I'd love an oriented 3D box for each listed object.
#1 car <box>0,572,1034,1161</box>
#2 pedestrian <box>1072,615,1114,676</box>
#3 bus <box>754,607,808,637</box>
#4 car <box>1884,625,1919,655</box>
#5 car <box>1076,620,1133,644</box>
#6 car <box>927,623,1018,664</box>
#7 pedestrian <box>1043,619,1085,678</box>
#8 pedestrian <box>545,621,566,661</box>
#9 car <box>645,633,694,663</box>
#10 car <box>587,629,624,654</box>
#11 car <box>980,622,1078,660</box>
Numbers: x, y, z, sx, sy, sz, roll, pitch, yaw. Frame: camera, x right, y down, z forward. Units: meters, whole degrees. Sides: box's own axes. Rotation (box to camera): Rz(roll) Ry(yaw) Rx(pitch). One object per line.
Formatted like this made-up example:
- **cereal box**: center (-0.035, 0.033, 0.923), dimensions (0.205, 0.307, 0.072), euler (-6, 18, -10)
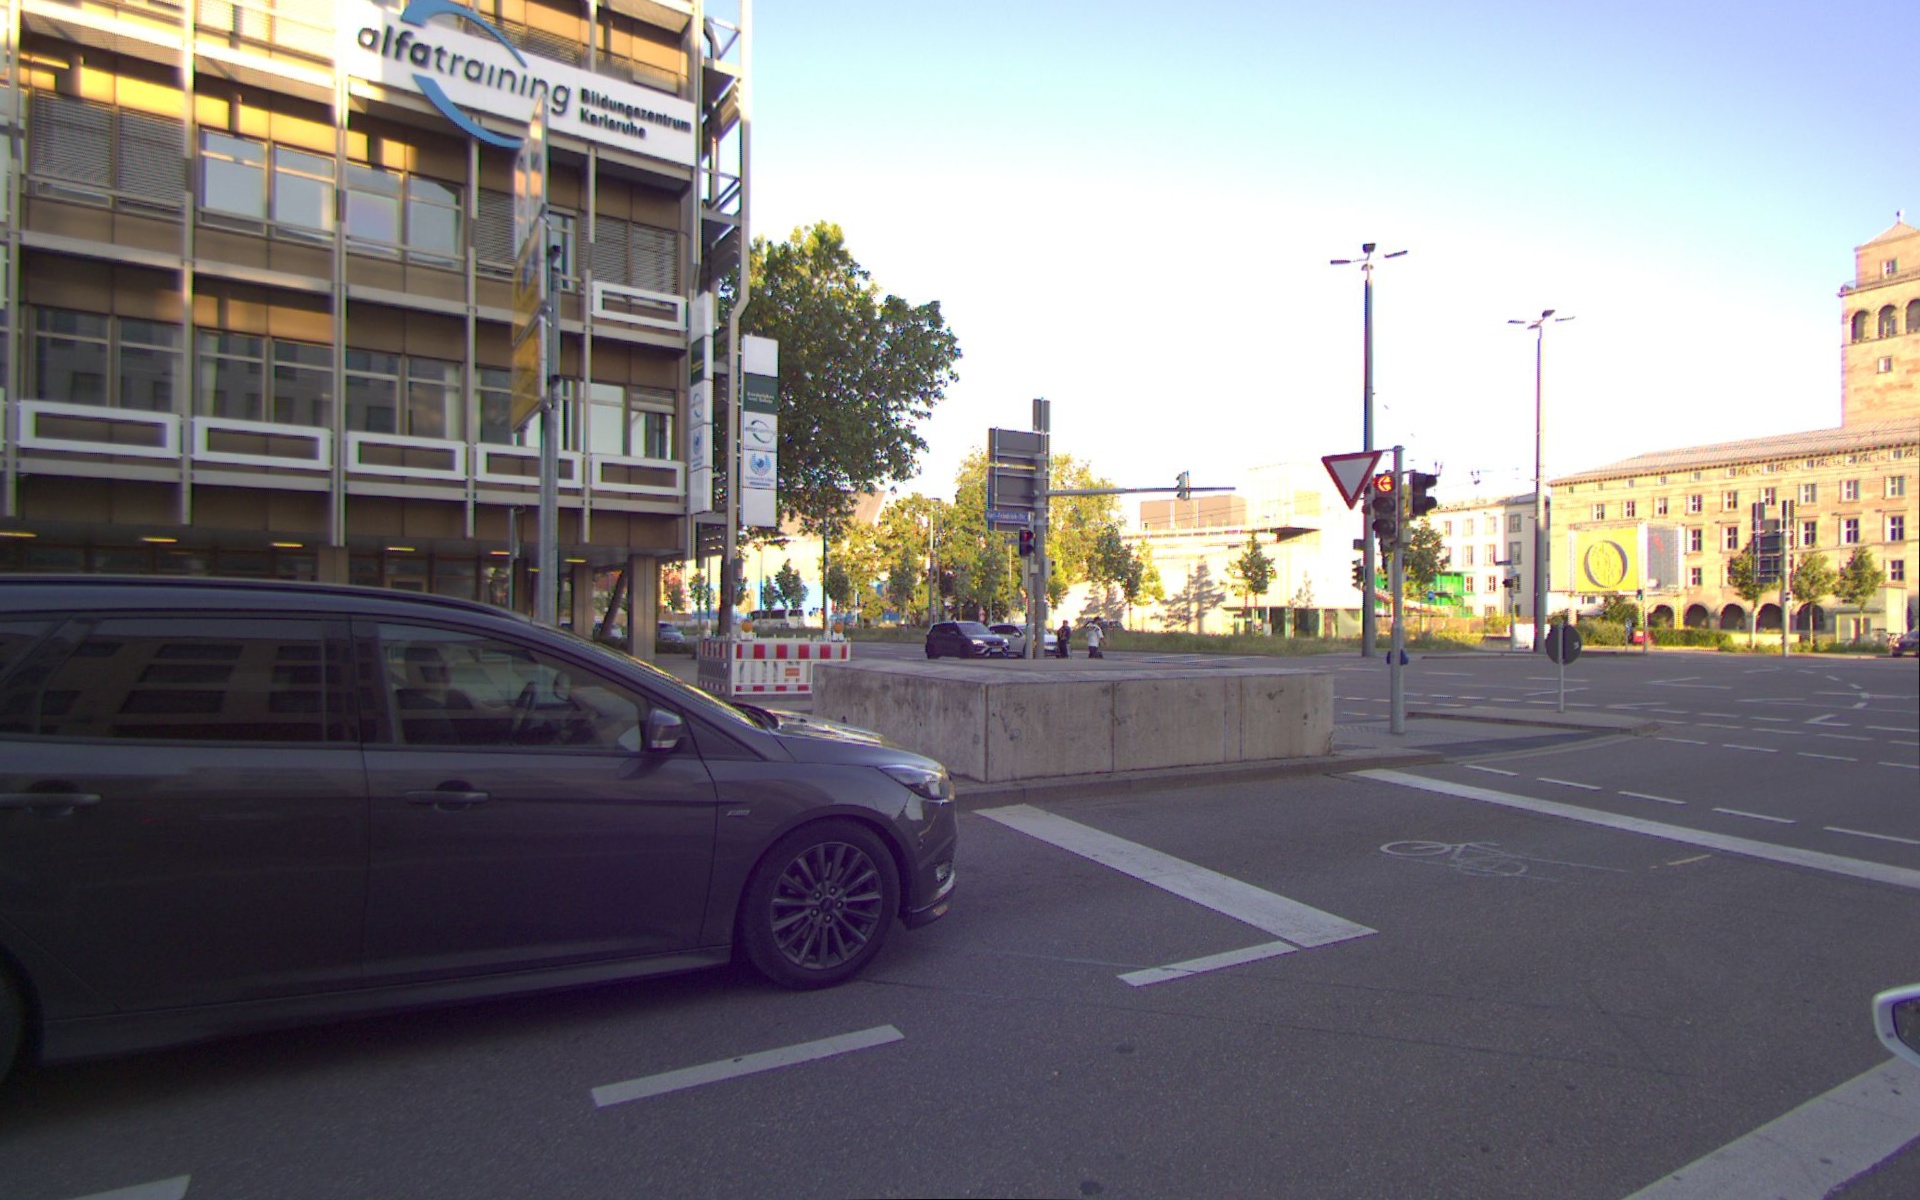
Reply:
- **car**: center (-1.992, 0.671, 3.798), dimensions (4.330, 1.482, 1.748), euler (1, 1, -31)
- **pedestrian**: center (3.920, 1.316, 29.565), dimensions (0.949, 1.744, 0.816), euler (1, -1, -34)
- **bus**: center (-23.228, 2.840, 129.974), dimensions (2.959, 3.818, 10.341), euler (1, -1, -34)
- **car**: center (51.199, 2.112, 53.547), dimensions (4.111, 1.485, 1.813), euler (0, -1, -32)
- **car**: center (10.203, 2.244, 71.238), dimensions (1.726, 1.626, 4.096), euler (1, -1, -33)
- **car**: center (0.431, 1.675, 39.506), dimensions (1.829, 1.476, 3.921), euler (0, -1, -30)
- **pedestrian**: center (3.137, 1.442, 30.273), dimensions (0.949, 1.744, 0.816), euler (1, -1, -34)
- **pedestrian**: center (-18.919, 1.894, 46.989), dimensions (0.749, 1.830, 0.715), euler (2, 0, -35)
- **car**: center (-17.065, 2.785, 58.796), dimensions (1.722, 1.605, 4.554), euler (0, -1, -30)
- **car**: center (-24.577, 2.853, 69.593), dimensions (1.722, 1.605, 3.764), euler (0, -1, -31)
- **car**: center (2.798, 1.678, 41.866), dimensions (1.829, 1.476, 4.555), euler (0, -1, -30)
